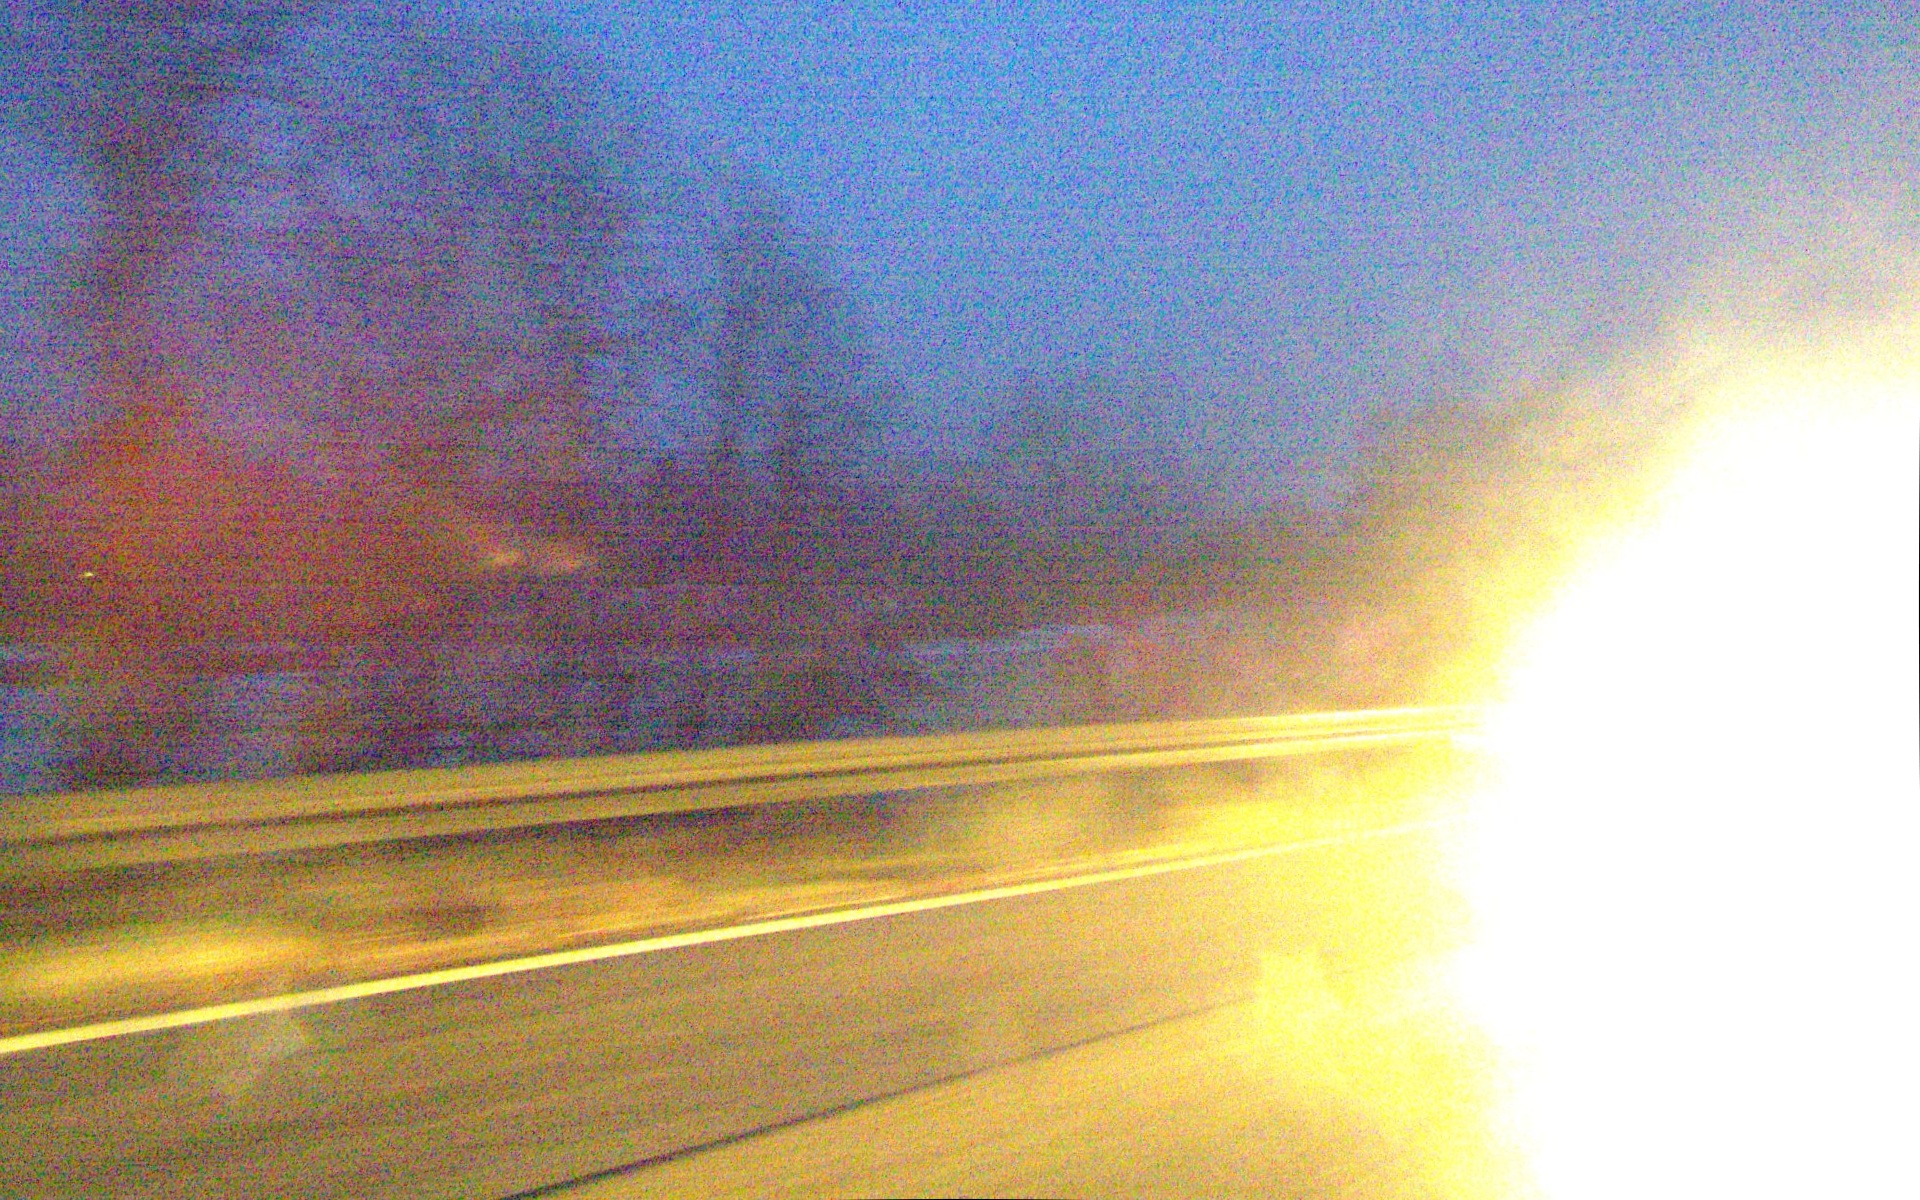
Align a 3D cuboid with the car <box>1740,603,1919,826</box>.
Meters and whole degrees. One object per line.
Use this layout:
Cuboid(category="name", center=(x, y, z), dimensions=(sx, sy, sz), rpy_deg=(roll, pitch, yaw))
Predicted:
Cuboid(category="car", center=(8.130, 0.862, 7.964), dimensions=(3.667, 1.524, 1.835), rpy_deg=(2, -1, -30))
